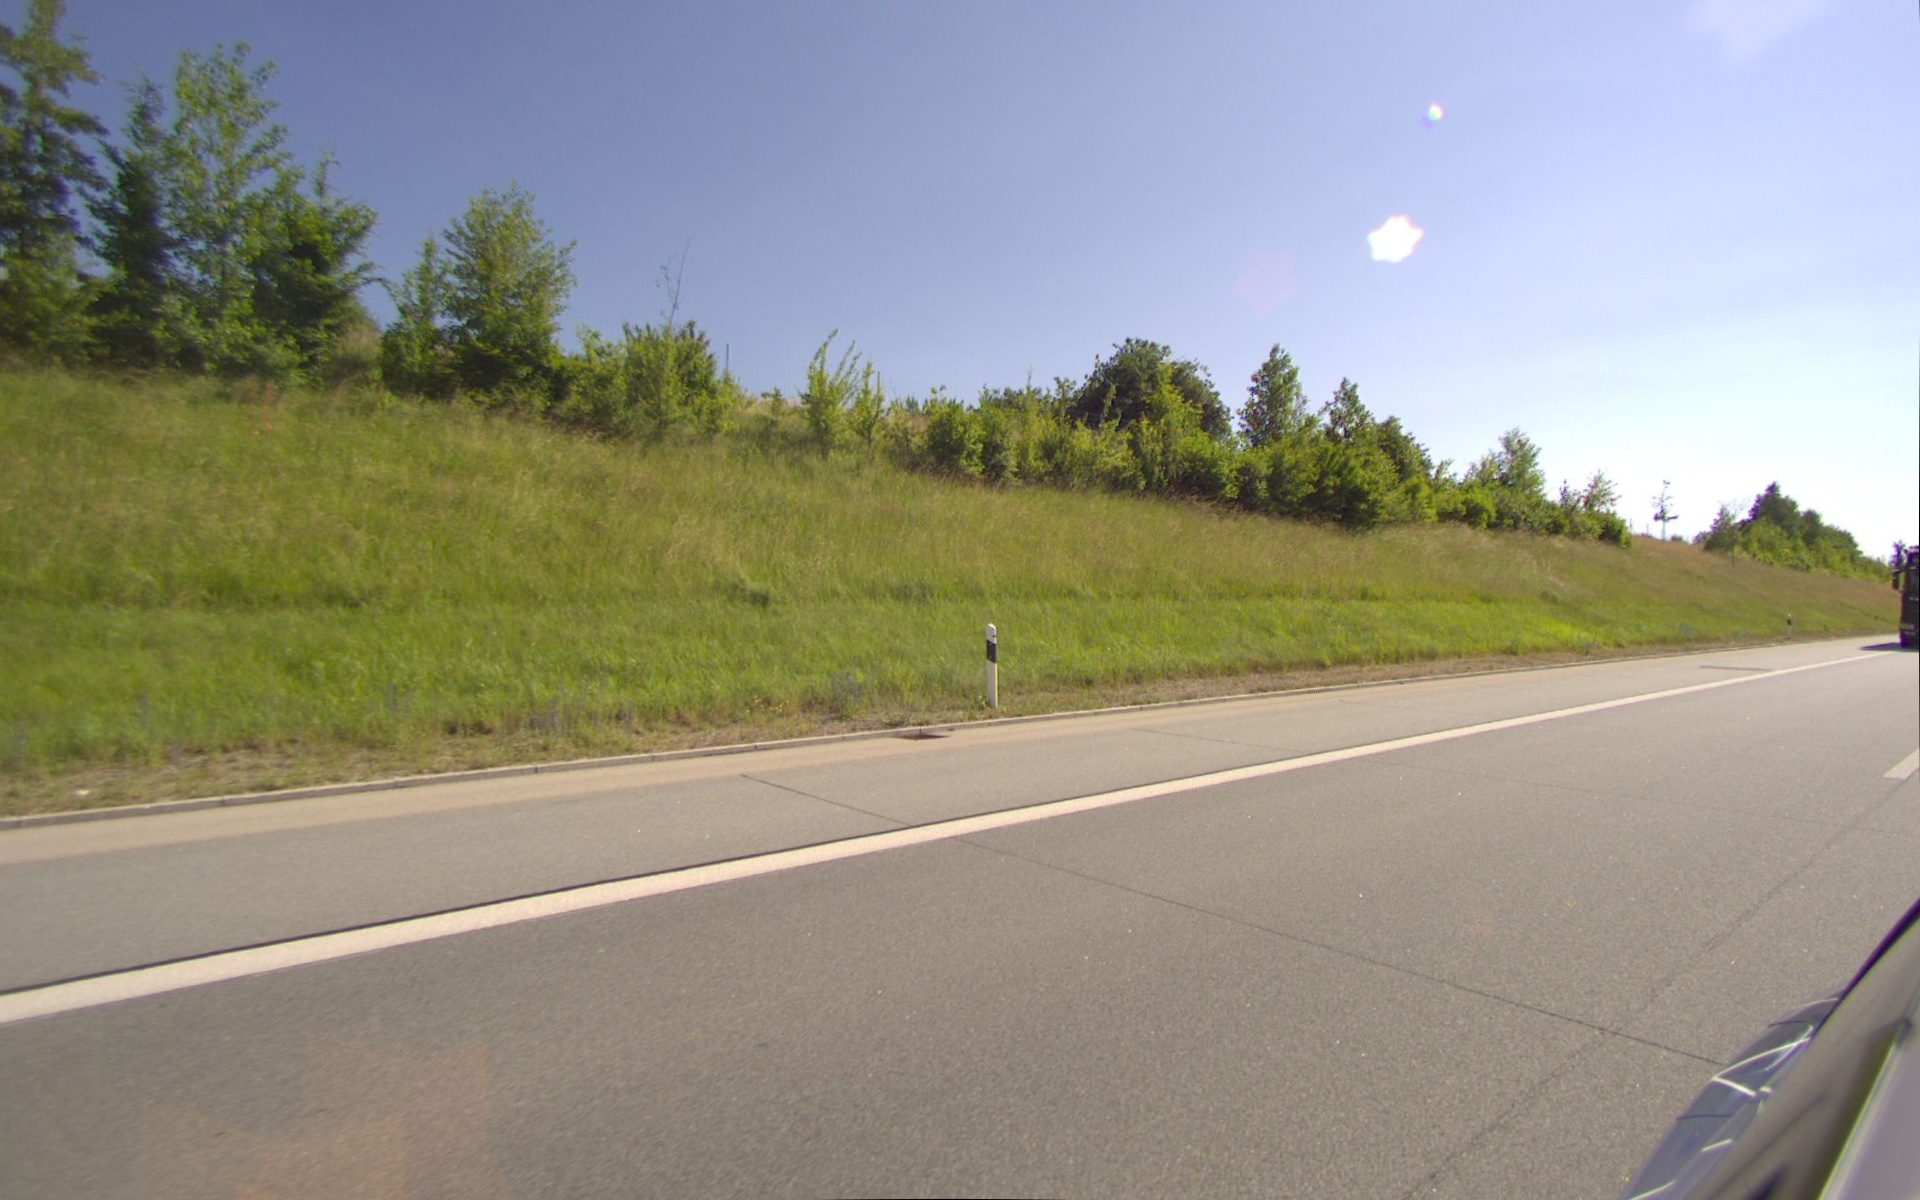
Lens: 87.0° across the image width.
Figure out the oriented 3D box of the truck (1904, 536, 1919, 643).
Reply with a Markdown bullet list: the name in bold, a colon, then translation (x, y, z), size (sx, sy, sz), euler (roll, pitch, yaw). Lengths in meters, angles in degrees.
- **truck**: translation (40.474, -0.388, 40.078), size (13.162, 3.867, 2.621), euler (0, -3, -39)
